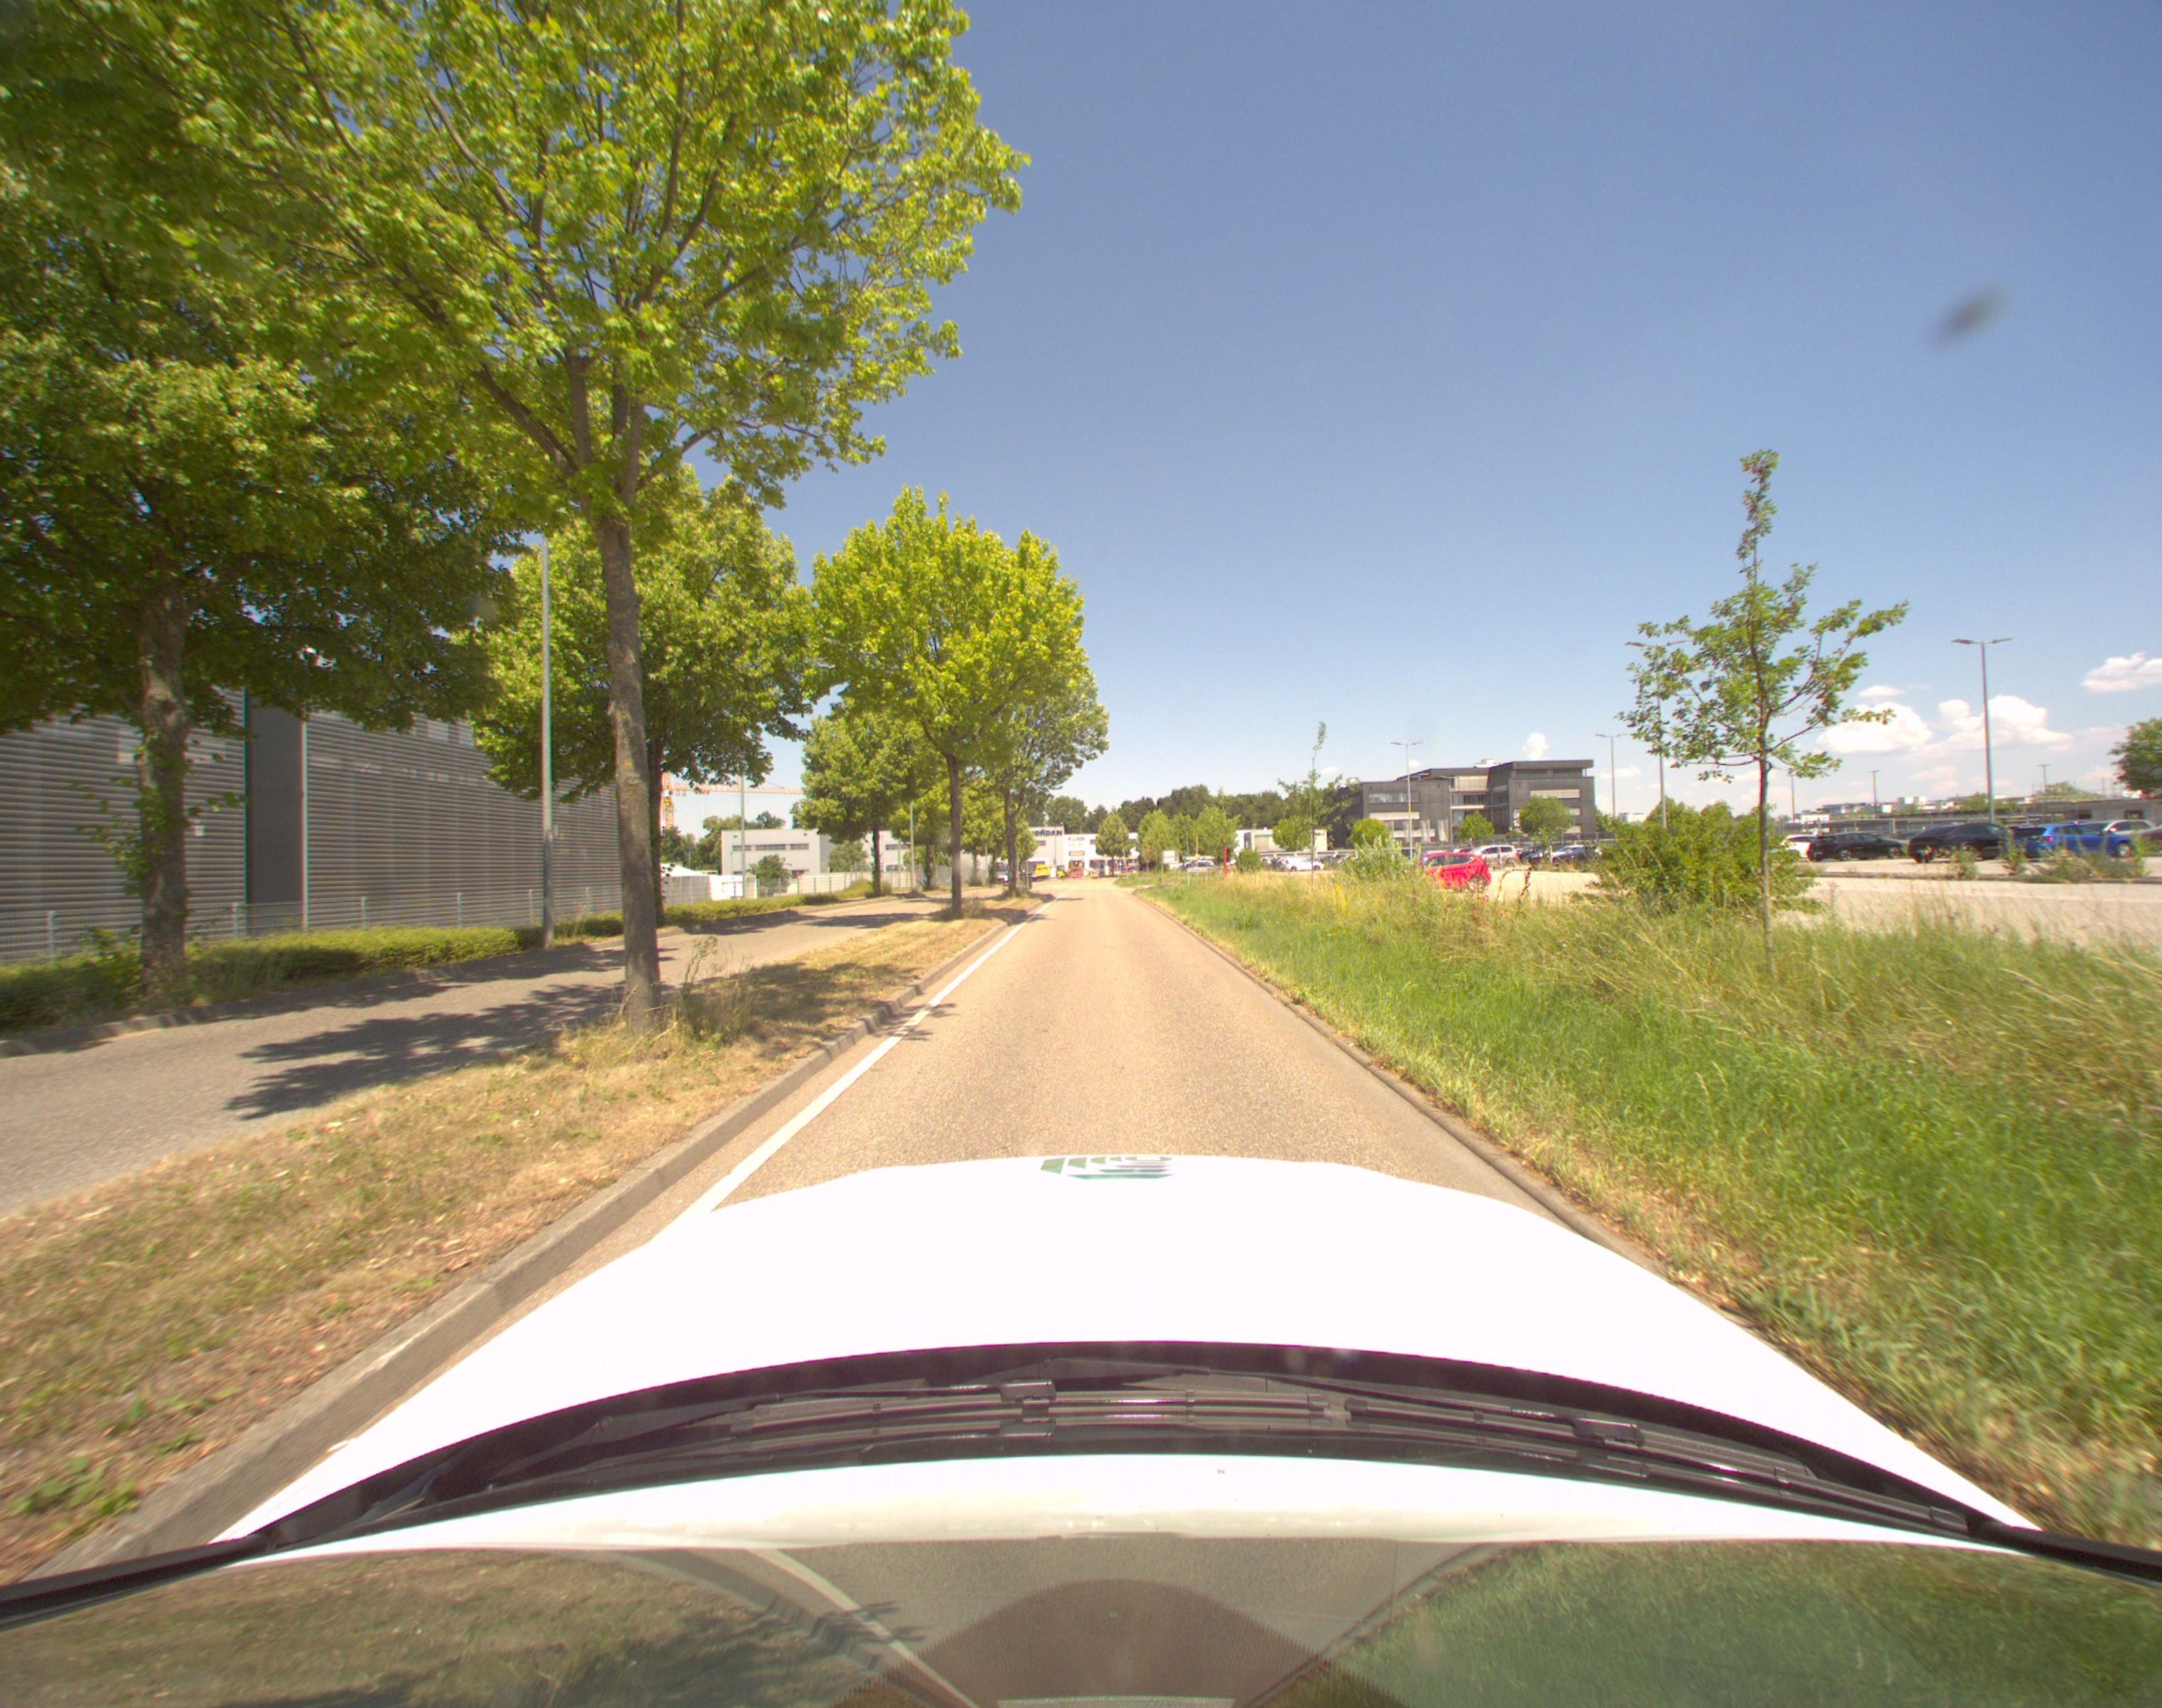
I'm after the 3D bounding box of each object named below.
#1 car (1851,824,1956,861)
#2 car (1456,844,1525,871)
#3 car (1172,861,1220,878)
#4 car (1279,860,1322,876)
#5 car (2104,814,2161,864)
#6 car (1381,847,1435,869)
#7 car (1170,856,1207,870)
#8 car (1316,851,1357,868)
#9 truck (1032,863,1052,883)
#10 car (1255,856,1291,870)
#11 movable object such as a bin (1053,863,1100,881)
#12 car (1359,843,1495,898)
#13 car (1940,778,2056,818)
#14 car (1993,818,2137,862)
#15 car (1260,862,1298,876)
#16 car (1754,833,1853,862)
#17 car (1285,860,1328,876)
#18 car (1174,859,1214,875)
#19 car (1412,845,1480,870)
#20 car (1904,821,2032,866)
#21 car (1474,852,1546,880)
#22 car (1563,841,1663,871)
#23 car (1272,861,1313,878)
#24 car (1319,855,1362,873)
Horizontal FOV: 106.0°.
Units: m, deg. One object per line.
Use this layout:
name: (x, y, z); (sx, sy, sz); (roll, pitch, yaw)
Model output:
car: (42.321, -0.598, 41.935); (3.990, 1.639, 1.992); (-4, 2, -12)
car: (29.082, 0.221, 57.899); (3.978, 1.595, 1.767); (-3, 2, -3)
car: (11.921, 1.620, 84.639); (4.685, 1.400, 1.923); (-3, 2, 2)
car: (23.368, 1.470, 86.733); (3.978, 1.400, 1.767); (-3, 2, -3)
car: (44.863, -0.669, 33.232); (3.979, 1.881, 1.998); (-3, 2, -4)
car: (28.905, 0.349, 72.081); (3.978, 1.595, 1.860); (-3, 2, -3)
car: (13.086, 1.136, 99.310); (4.153, 1.400, 1.767); (-3, 2, -3)
car: (28.157, 0.640, 89.813); (3.978, 1.595, 1.767); (-3, 2, -3)
truck: (-6.747, 3.261, 140.259); (2.937, 2.885, 5.794); (-3, 2, -8)
car: (23.602, 1.074, 100.323); (3.978, 1.400, 1.767); (-3, 2, -3)
movable object such as a bin: (-0.776, 3.083, 140.040); (7.483, 2.499, 3.675); (-3, 2, 8)
car: (12.251, 0.595, 29.043); (3.974, 1.724, 1.927); (-3, -1, 0)
car: (43.905, -2.663, 39.021); (3.990, 1.639, 1.992); (-4, 2, -12)
car: (38.602, -0.563, 32.003); (3.789, 1.464, 1.732); (-3, 2, -4)
car: (23.694, 1.808, 97.546); (3.978, 1.400, 1.767); (-3, 2, -3)
car: (39.094, -0.325, 44.122); (3.980, 1.341, 1.693); (-3, -1, -4)
car: (23.361, 1.424, 84.486); (3.976, 1.400, 1.768); (-3, 2, -2)
car: (12.631, 1.452, 91.010); (4.153, 1.400, 1.767); (-3, 2, -3)
car: (27.608, 0.228, 61.683); (4.356, 1.595, 1.767); (-3, 2, -3)
car: (38.140, -0.462, 35.060); (3.990, 1.639, 1.992); (-4, 2, -12)
car: (29.306, 0.831, 55.681); (3.978, 1.595, 1.767); (-3, 2, -3)
car: (28.109, 0.110, 43.096); (3.974, 1.395, 1.927); (-3, -1, 0)
car: (23.299, 1.722, 89.750); (3.978, 1.490, 1.767); (-3, 2, -3)
car: (27.669, 1.095, 86.831); (3.978, 1.595, 1.767); (-3, 2, -3)
